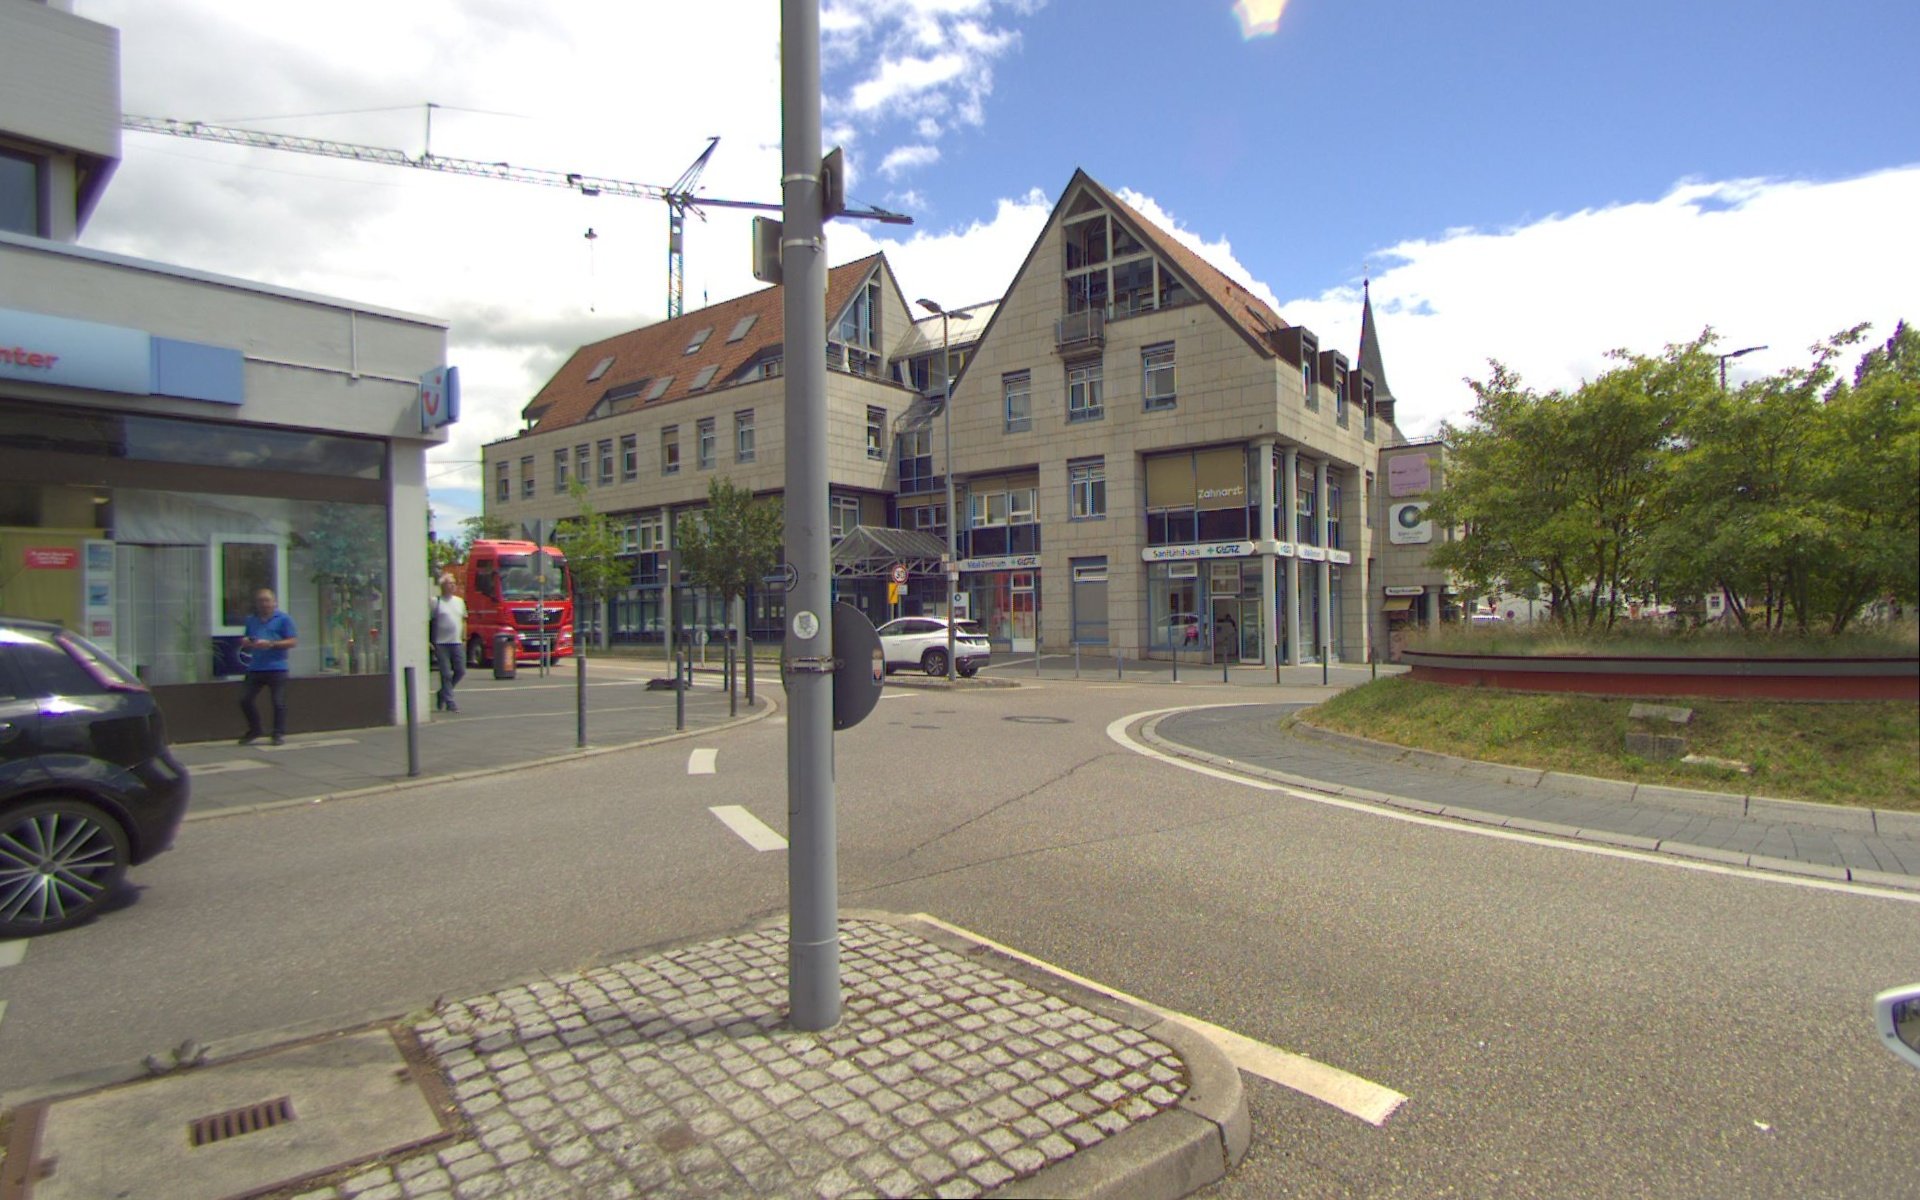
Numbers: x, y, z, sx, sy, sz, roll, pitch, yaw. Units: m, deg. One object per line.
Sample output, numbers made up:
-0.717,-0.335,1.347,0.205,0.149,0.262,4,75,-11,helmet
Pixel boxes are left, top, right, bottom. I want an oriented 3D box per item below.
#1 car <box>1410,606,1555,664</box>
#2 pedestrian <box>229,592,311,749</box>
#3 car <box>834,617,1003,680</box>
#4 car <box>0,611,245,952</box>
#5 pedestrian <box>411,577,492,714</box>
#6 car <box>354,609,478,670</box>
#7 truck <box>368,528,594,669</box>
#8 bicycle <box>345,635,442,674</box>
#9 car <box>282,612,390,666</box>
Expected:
25.977,1.726,50.210,6.183,2.593,2.206,1,-3,23,car
-7.395,0.735,10.793,0.560,1.625,0.604,0,-1,-18,pedestrian
-1.162,1.299,27.782,4.295,1.601,1.861,0,-2,28,car
-5.428,0.735,3.800,1.676,1.438,4.106,0,-2,35,car
-7.296,0.640,14.428,0.670,1.900,0.804,0,-1,34,pedestrian
-15.684,1.111,28.859,4.314,1.601,1.853,-1,-3,43,car
-16.290,0.070,33.621,10.442,4.080,2.952,-1,-2,42,truck
-14.352,1.382,25.490,0.514,0.958,2.055,-1,-3,43,bicycle
-19.915,1.233,32.002,4.314,1.601,1.853,-1,-3,43,car
